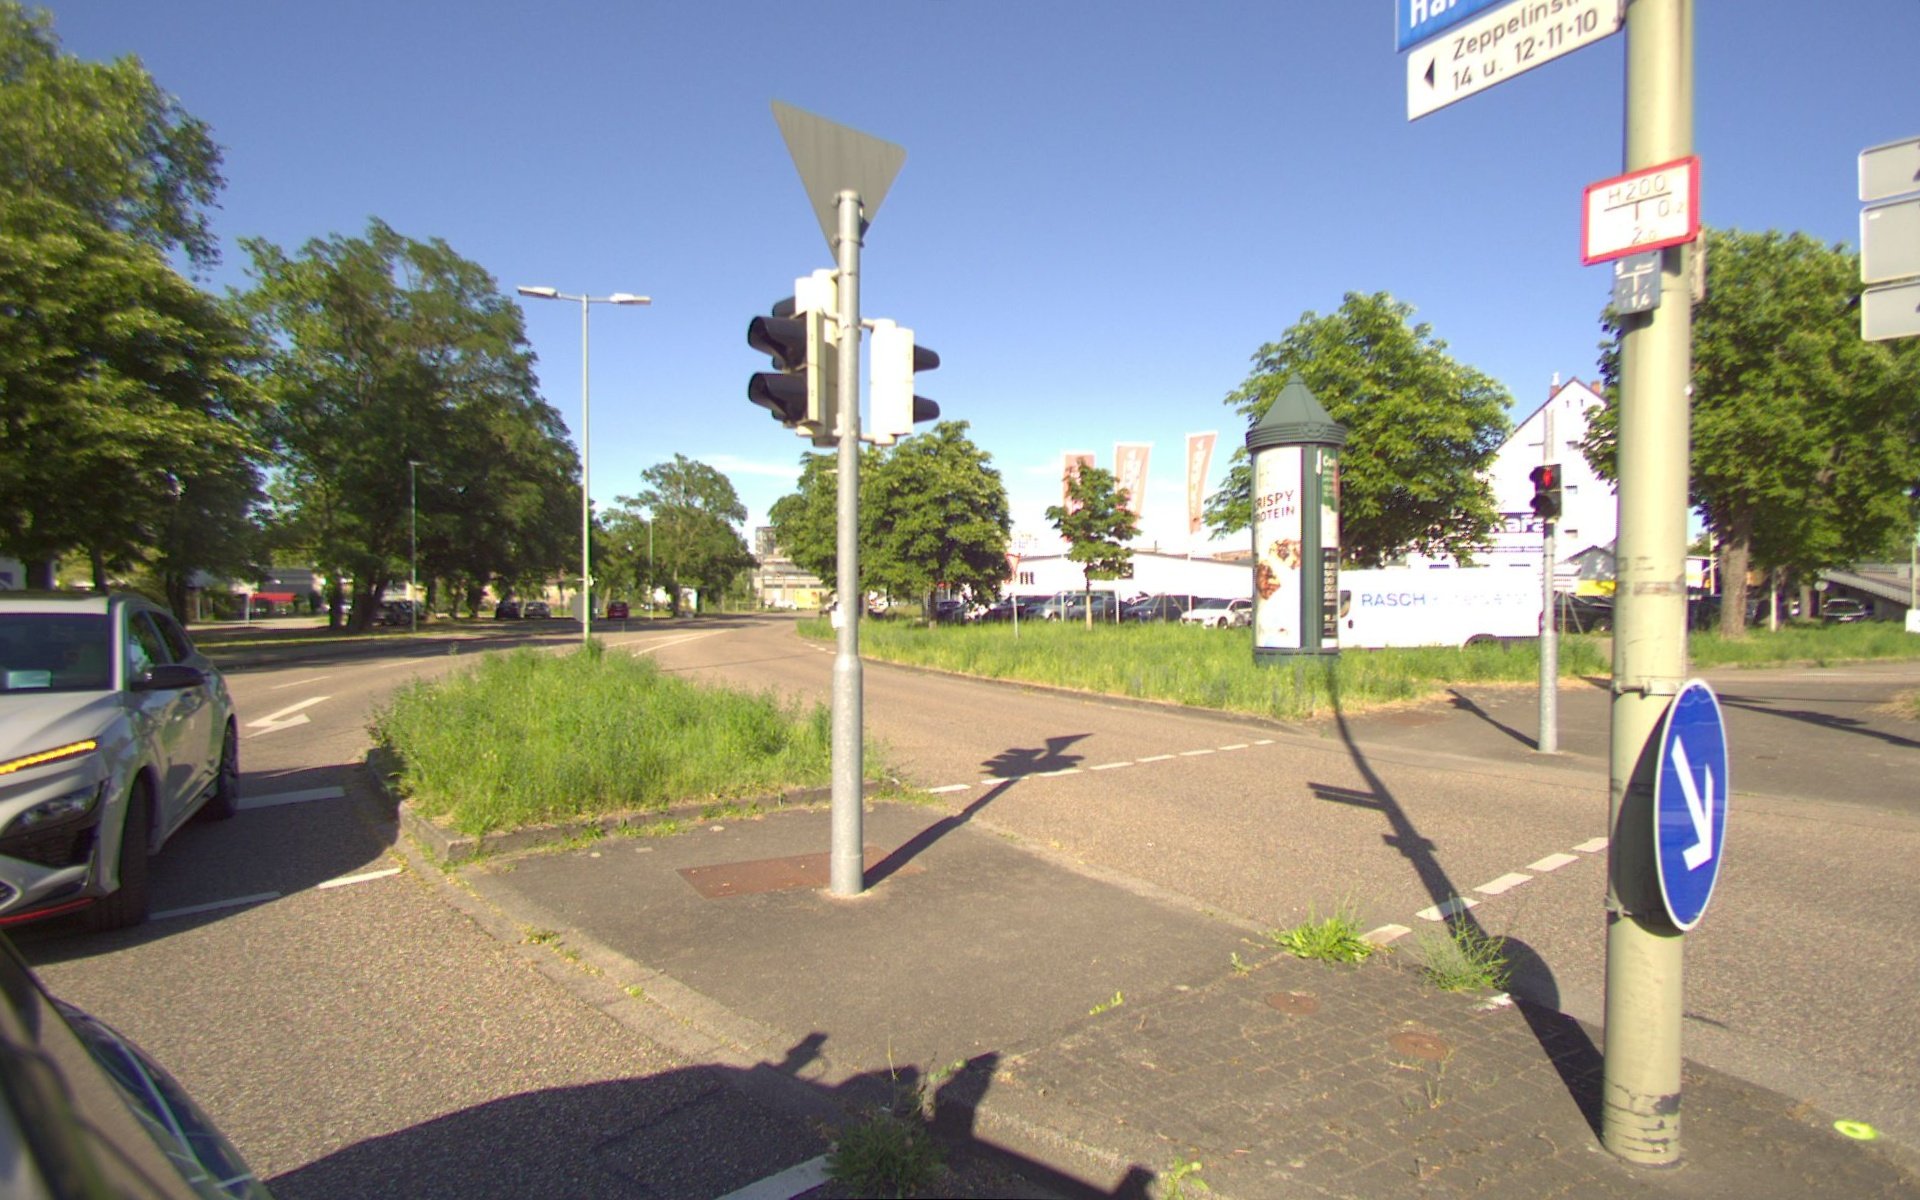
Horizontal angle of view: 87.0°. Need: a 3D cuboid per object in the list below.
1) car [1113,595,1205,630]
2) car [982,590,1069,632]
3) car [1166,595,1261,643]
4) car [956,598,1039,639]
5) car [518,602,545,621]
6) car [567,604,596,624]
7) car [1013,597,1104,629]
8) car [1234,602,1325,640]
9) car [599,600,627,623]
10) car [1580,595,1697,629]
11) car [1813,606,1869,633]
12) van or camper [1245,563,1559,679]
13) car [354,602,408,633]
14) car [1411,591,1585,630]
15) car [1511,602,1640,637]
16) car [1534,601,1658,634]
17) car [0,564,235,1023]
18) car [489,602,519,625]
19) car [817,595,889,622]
[{"bbox_3d":[8.684,0.517,44.102,3.939,1.452,2.002,0,-1,-43],"label":"car"},{"bbox_3d":[3.303,0.556,50.824,3.931,2.029,2.006,0,-1,-30],"label":"car"},{"bbox_3d":[10.556,0.778,42.004,3.939,1.901,2.002,0,-1,-43],"label":"car"},{"bbox_3d":[1.977,0.932,53.204,3.931,2.029,2.006,-1,0,-30],"label":"car"},{"bbox_3d":[-35.303,0.965,83.463,1.840,1.451,3.495,2,0,-19],"label":"car"},{"bbox_3d":[-29.768,1.116,79.686,1.965,1.461,4.013,2,0,-19],"label":"car"},{"bbox_3d":[4.683,0.604,48.057,3.931,1.419,1.845,-1,0,-27],"label":"car"},{"bbox_3d":[12.816,0.812,40.535,3.939,1.473,1.747,0,-1,-43],"label":"car"},{"bbox_3d":[-27.575,0.890,80.400,1.965,1.679,4.013,2,0,-19],"label":"car"},{"bbox_3d":[32.788,0.559,49.064,4.378,1.587,1.801,-1,0,22],"label":"car"},{"bbox_3d":[51.374,1.126,59.103,2.041,1.475,4.900,-1,0,37],"label":"car"},{"bbox_3d":[10.659,0.532,25.013,6.530,2.602,2.601,-1,-1,6],"label":"van or camper"},{"bbox_3d":[-35.787,1.040,62.659,1.976,1.809,4.012,-1,0,-16],"label":"car"},{"bbox_3d":[19.230,0.375,36.421,5.004,1.320,2.354,-1,0,10],"label":"car"},{"bbox_3d":[23.350,0.726,38.586,3.907,1.250,2.028,-1,0,23],"label":"car"},{"bbox_3d":[25.384,0.693,40.545,3.907,1.250,2.028,-1,0,23],"label":"car"},{"bbox_3d":[-5.011,0.657,5.117,1.686,1.658,4.068,1,1,-29],"label":"car"},{"bbox_3d":[-34.738,1.019,77.174,1.708,1.631,4.013,2,0,-19],"label":"car"},{"bbox_3d":[-6.335,0.501,59.818,3.932,1.541,1.934,0,-1,-17],"label":"car"}]
